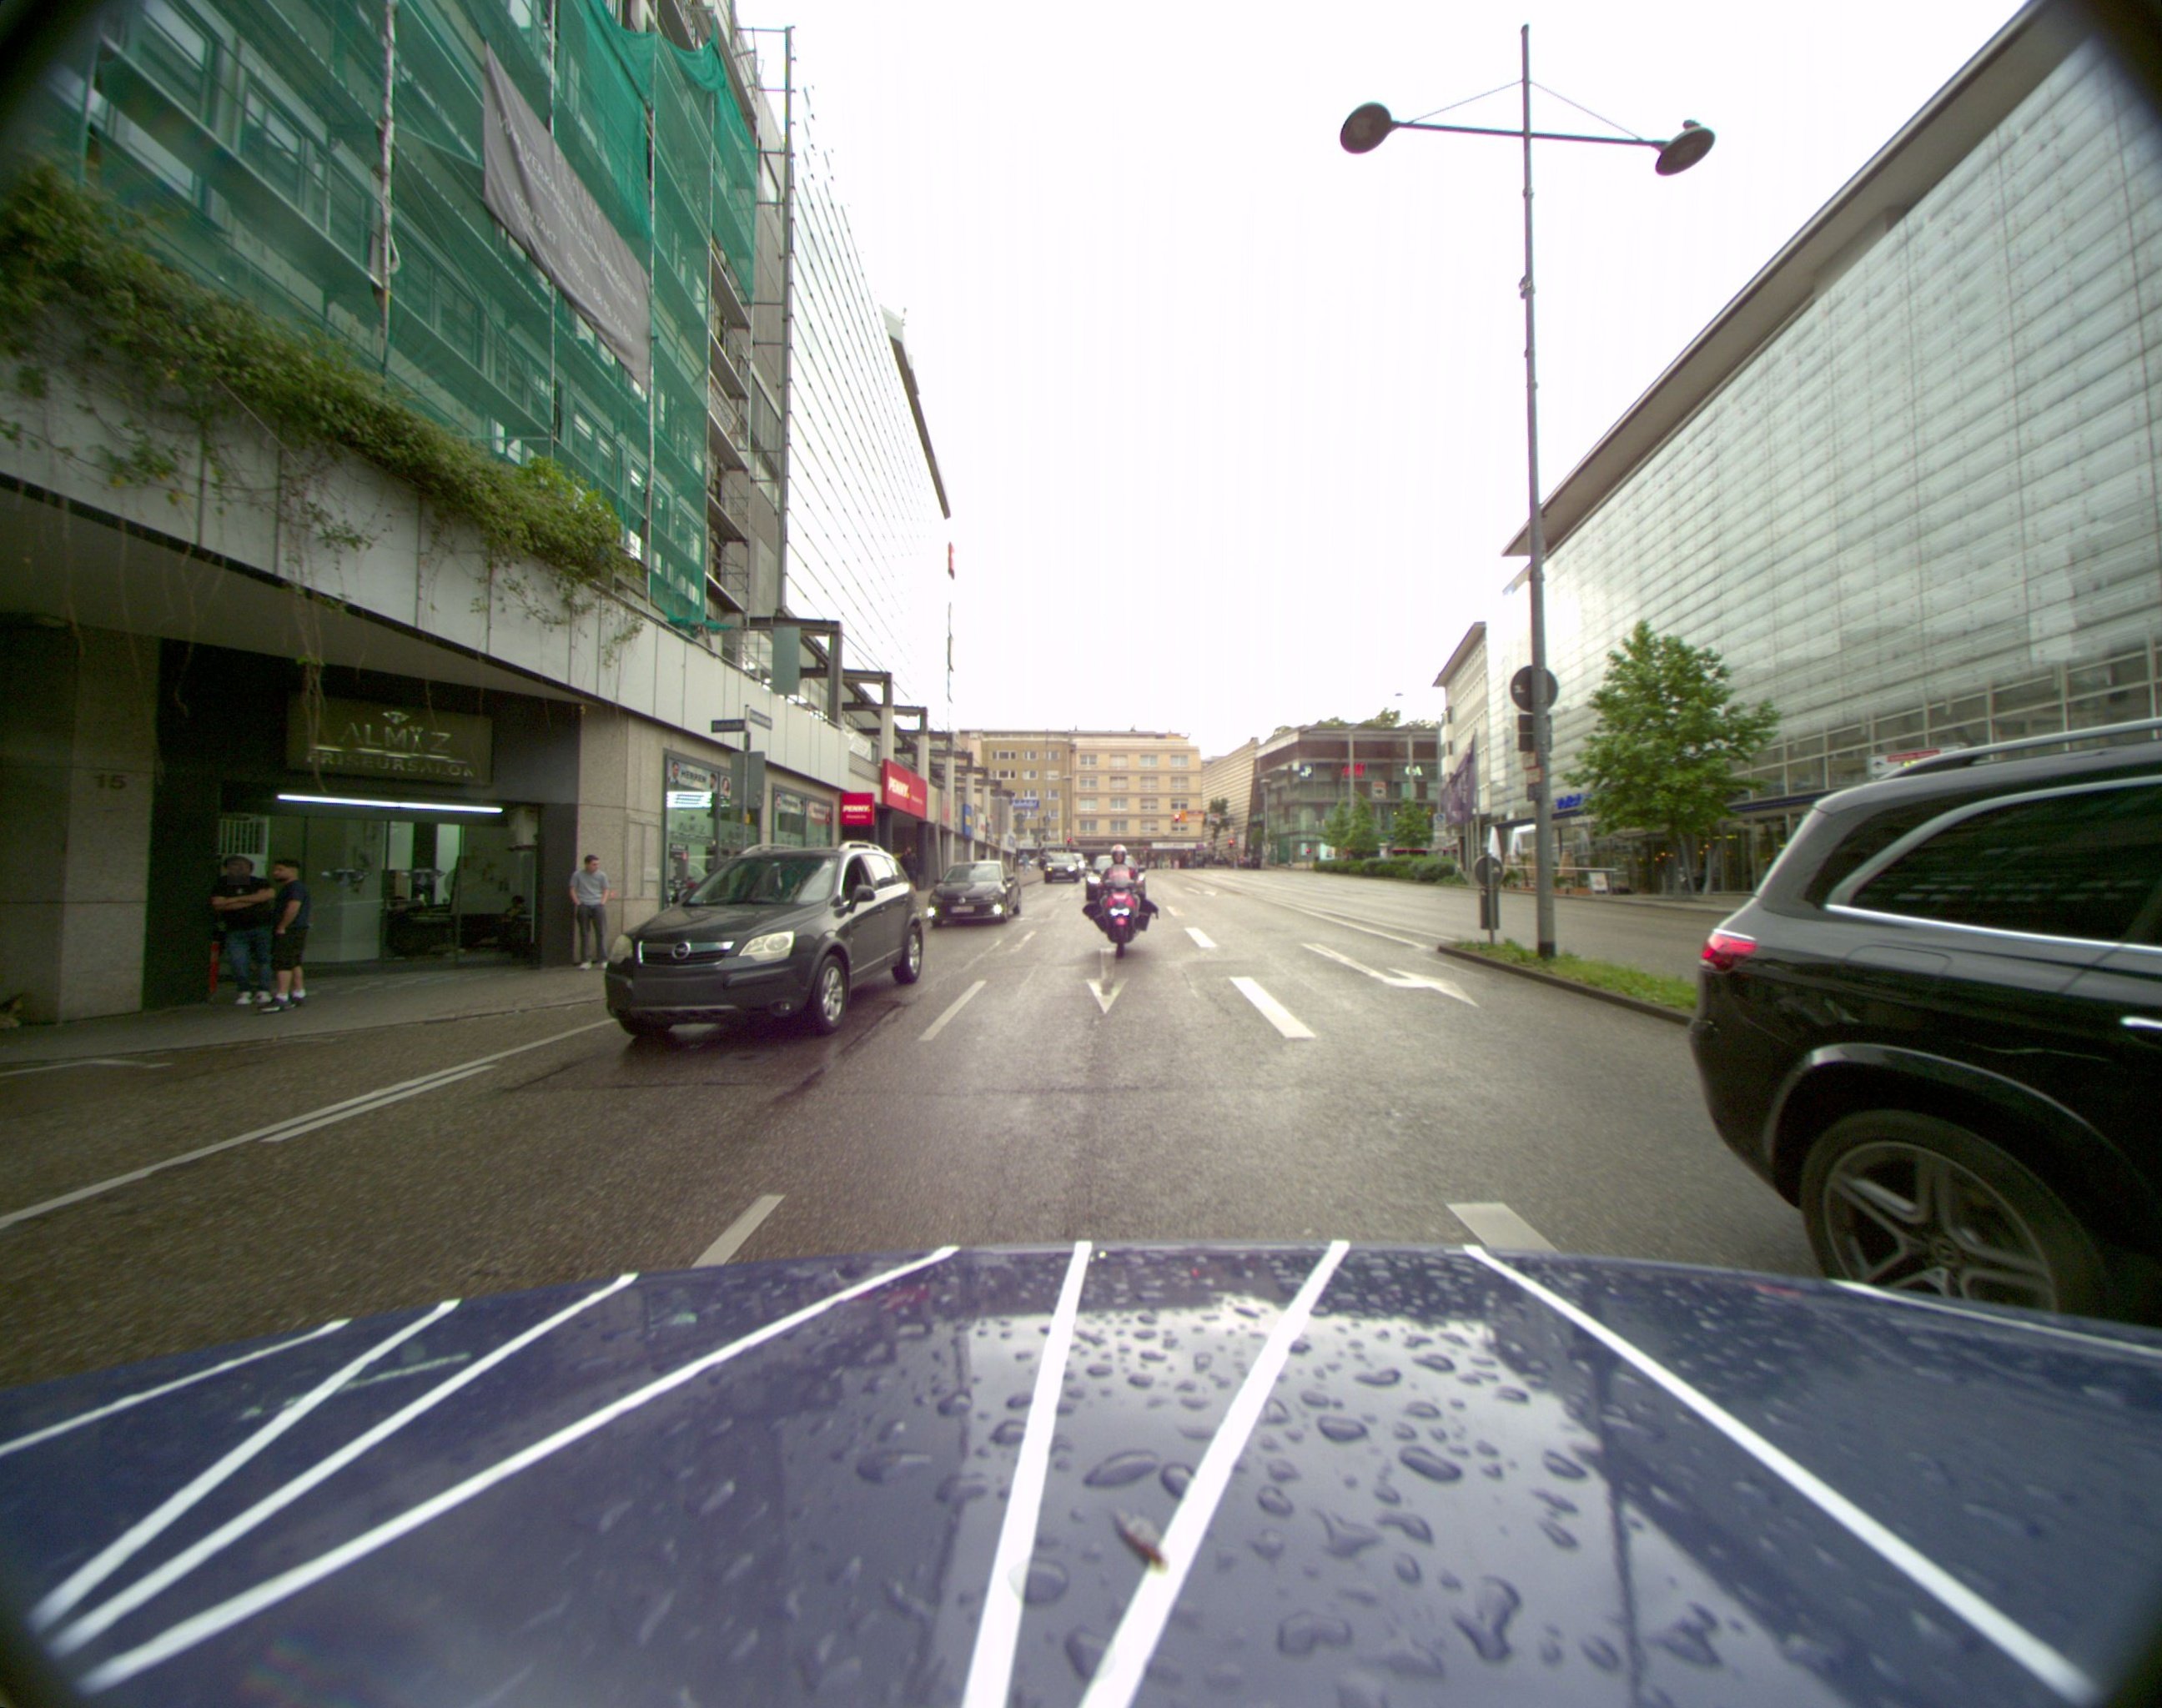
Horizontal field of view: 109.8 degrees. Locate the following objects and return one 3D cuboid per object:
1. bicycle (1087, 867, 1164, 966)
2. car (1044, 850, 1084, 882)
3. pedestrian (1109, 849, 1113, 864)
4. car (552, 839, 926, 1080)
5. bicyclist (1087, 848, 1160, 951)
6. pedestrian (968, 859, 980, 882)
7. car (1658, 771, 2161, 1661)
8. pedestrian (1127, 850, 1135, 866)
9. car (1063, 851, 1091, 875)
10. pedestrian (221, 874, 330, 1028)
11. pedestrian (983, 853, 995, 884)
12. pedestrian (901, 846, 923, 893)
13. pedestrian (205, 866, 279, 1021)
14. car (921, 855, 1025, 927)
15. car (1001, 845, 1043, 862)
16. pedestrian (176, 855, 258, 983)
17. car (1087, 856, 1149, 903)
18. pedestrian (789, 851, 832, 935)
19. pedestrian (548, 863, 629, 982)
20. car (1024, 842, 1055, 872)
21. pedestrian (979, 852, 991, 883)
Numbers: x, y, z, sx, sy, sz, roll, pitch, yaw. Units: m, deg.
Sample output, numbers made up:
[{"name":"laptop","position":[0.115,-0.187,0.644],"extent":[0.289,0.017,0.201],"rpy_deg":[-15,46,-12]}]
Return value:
[{"name":"bicycle","position":[0.636,0.910,12.188],"extent":[1.034,1.279,2.948],"rpy_deg":[-2,1,0]},{"name":"car","position":[-0.876,0.626,41.408],"extent":[1.841,1.598,4.164],"rpy_deg":[-2,1,2]},{"name":"pedestrian","position":[3.321,0.312,83.823],"extent":[0.428,1.620,0.602],"rpy_deg":[0,1,3]},{"name":"car","position":[-2.997,0.819,7.778],"extent":[1.764,1.755,4.165],"rpy_deg":[-2,-1,2]},{"name":"bicyclist","position":[0.653,0.688,11.948],"extent":[1.063,1.534,0.825],"rpy_deg":[-2,2,0]},{"name":"pedestrian","position":[-5.318,0.818,37.821],"extent":[0.510,1.160,0.579],"rpy_deg":[0,2,-1]},{"name":"car","position":[3.163,0.749,0.408],"extent":[1.916,1.859,5.072],"rpy_deg":[-2,1,1]},{"name":"pedestrian","position":[5.443,0.407,83.154],"extent":[0.627,1.764,0.687],"rpy_deg":[-3,2,-20]},{"name":"car","position":[-0.222,0.586,51.881],"extent":[1.675,1.520,4.165],"rpy_deg":[-2,-1,2]},{"name":"pedestrian","position":[-8.913,1.034,8.435],"extent":[0.640,1.586,0.576],"rpy_deg":[-3,2,-32]},{"name":"pedestrian","position":[-4.500,0.690,37.015],"extent":[0.510,1.492,0.579],"rpy_deg":[0,2,-1]},{"name":"pedestrian","position":[-6.196,0.559,27.882],"extent":[0.578,1.669,0.511],"rpy_deg":[1,2,21]},{"name":"pedestrian","position":[-9.662,0.998,8.753],"extent":[0.466,1.698,0.484],"rpy_deg":[-1,2,41]},{"name":"car","position":[-2.506,0.830,18.641],"extent":[1.759,1.495,4.165],"rpy_deg":[-2,-1,2]},{"name":"car","position":[-6.900,-0.052,88.956],"extent":[4.594,2.002,1.995],"rpy_deg":[0,1,-27]},{"name":"pedestrian","position":[-12.771,0.916,11.251],"extent":[0.771,1.805,0.745],"rpy_deg":[1,1,44]},{"name":"car","position":[1.247,0.815,25.811],"extent":[1.890,1.391,4.164],"rpy_deg":[-2,0,2]},{"name":"pedestrian","position":[-5.381,0.762,15.145],"extent":[0.677,1.618,0.579],"rpy_deg":[0,2,-6]},{"name":"pedestrian","position":[-7.133,0.973,11.039],"extent":[0.639,1.633,0.733],"rpy_deg":[-2,2,-3]},{"name":"car","position":[-2.957,0.191,55.050],"extent":[1.605,2.002,3.400],"rpy_deg":[-2,1,6]},{"name":"pedestrian","position":[-4.778,0.671,37.893],"extent":[0.510,1.492,0.579],"rpy_deg":[0,2,-1]}]
